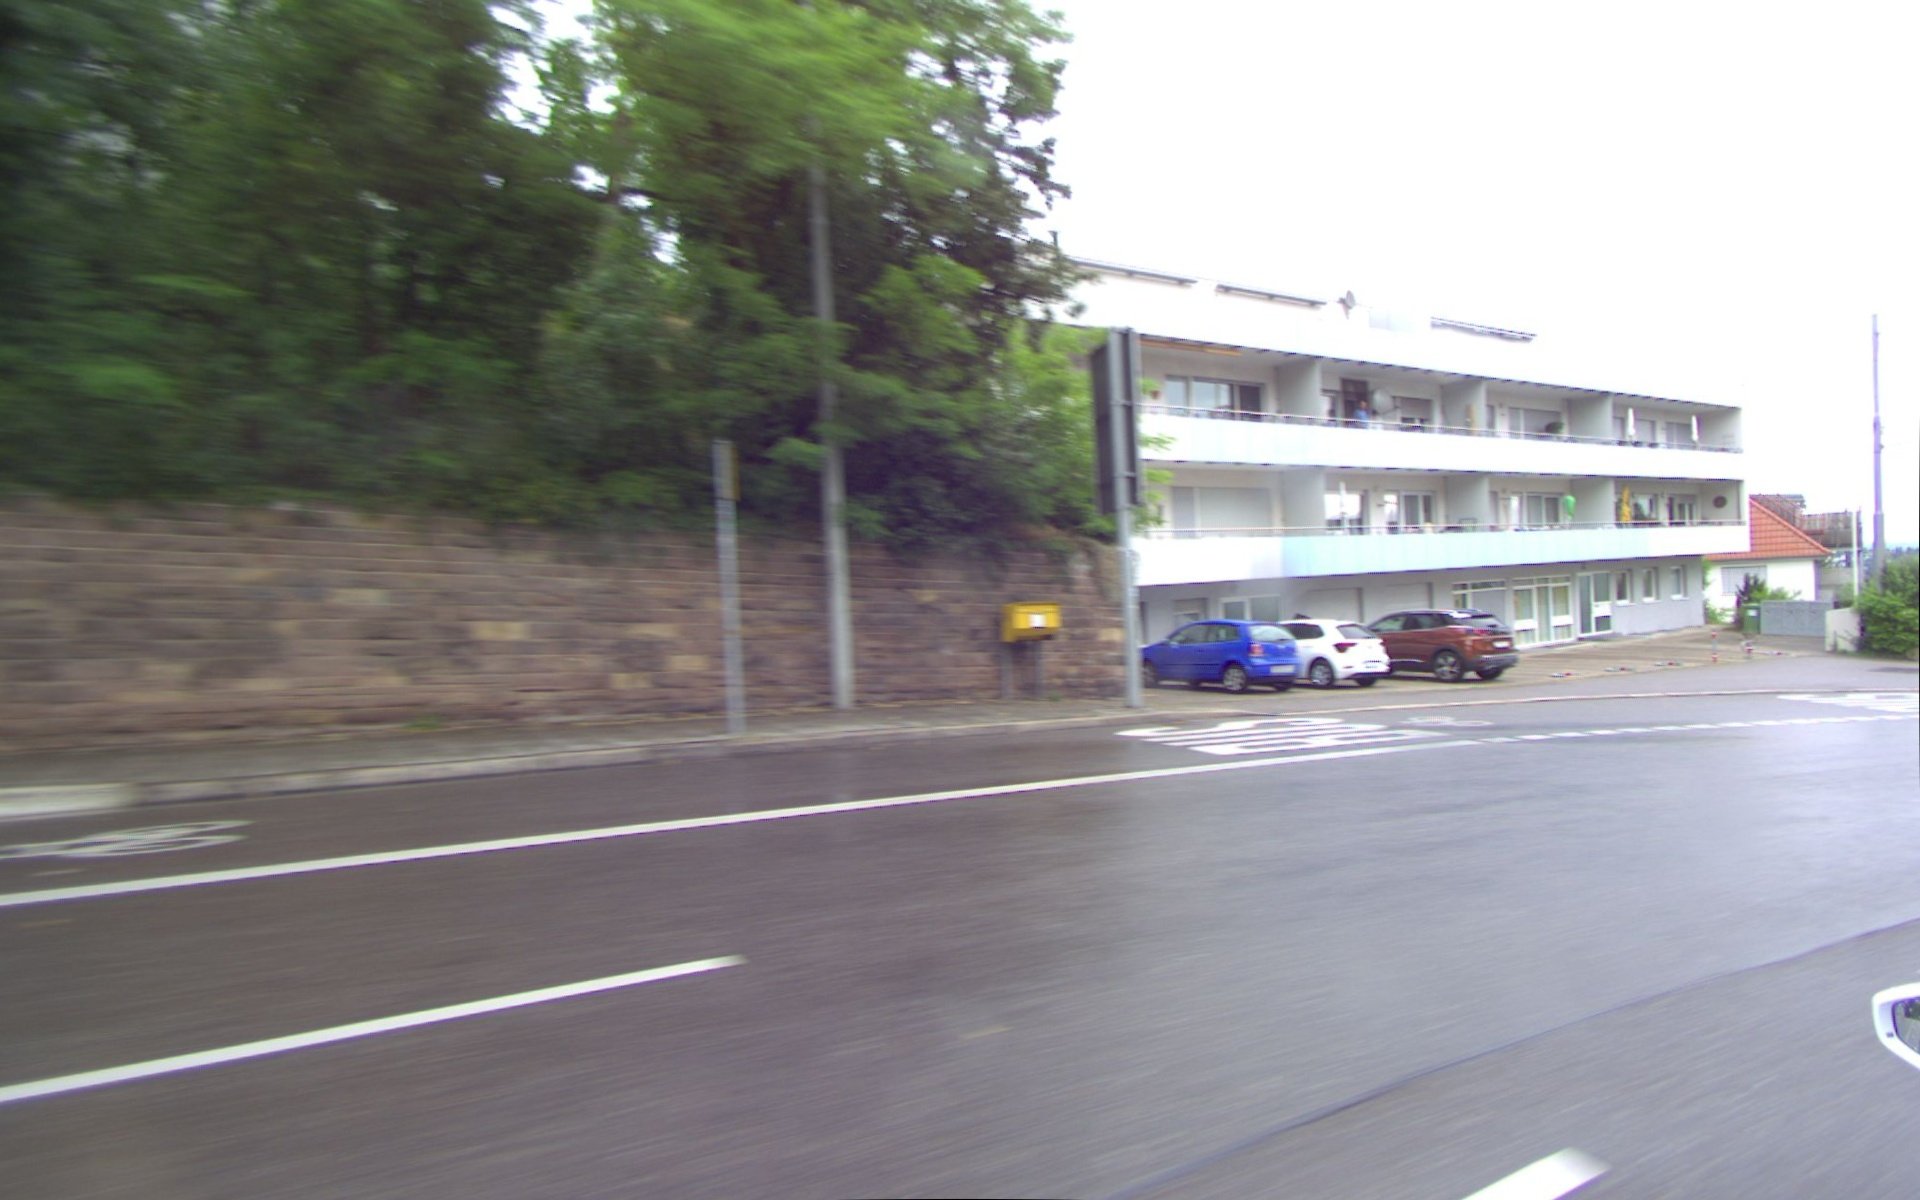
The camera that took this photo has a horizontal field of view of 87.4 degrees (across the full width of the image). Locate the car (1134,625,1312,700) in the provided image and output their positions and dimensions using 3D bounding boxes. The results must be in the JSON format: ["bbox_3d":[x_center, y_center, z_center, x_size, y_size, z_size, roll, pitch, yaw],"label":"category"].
[{"bbox_3d":[5.470,1.250,21.196,1.621,1.408,3.408,1,-1,-35],"label":"car"}]

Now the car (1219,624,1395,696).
[{"bbox_3d":[7.607,1.293,22.285,1.688,1.464,3.414,1,-3,-31],"label":"car"}]

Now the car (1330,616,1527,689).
[{"bbox_3d":[10.842,1.175,23.488,1.698,1.570,3.899,1,-2,-33],"label":"car"}]
